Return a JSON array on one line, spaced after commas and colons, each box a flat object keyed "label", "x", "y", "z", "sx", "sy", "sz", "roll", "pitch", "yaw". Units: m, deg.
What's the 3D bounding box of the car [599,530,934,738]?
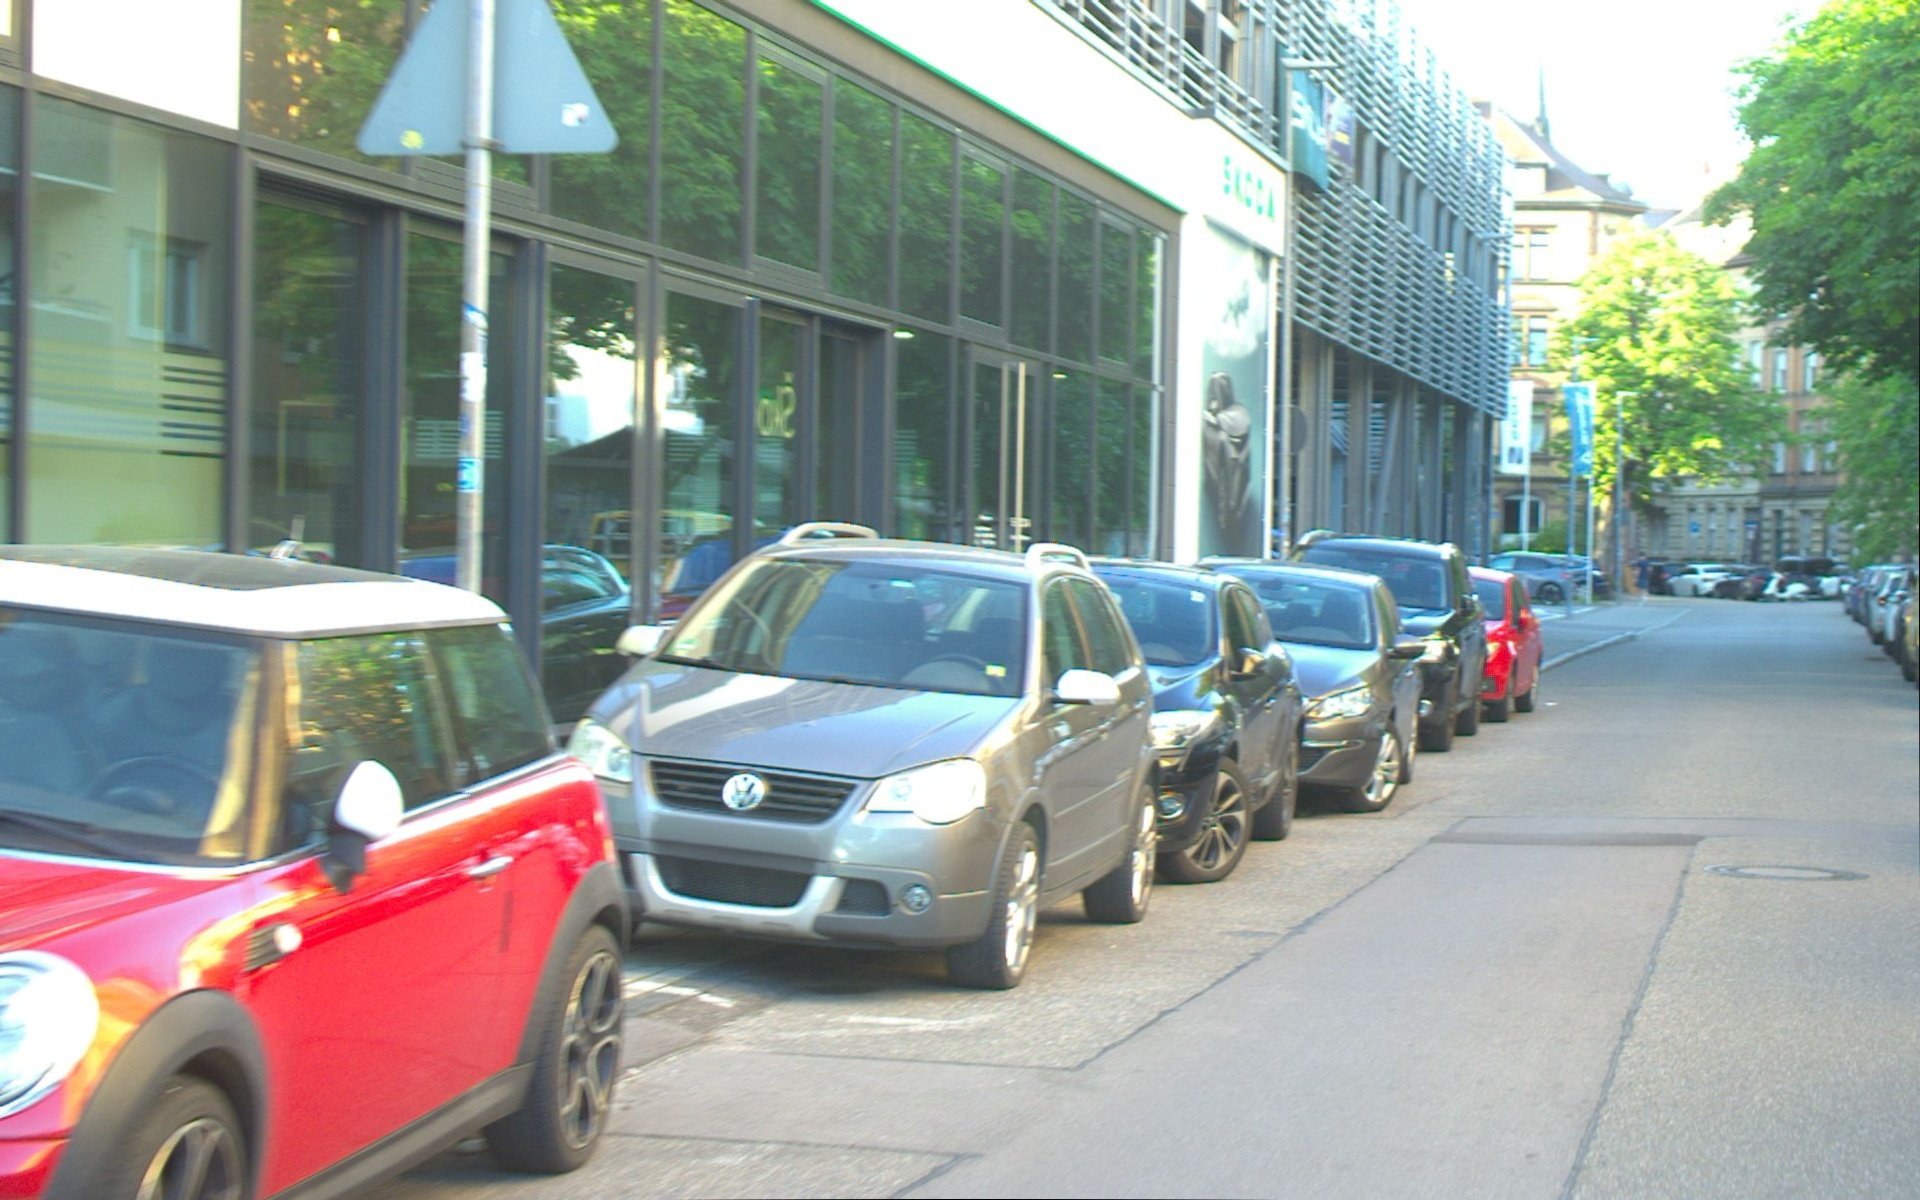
[{"label": "car", "x": -1.599, "y": 0.237, "z": 30.028, "sx": 1.698, "sy": 1.653, "sz": 4.407, "roll": 1, "pitch": 1, "yaw": 14}]

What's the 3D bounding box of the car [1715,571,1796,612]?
[{"label": "car", "x": 31.404, "y": -0.333, "z": 135.733, "sx": 1.654, "sy": 1.426, "sz": 3.991, "roll": 1, "pitch": 2, "yaw": -10}]

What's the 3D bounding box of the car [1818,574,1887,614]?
[{"label": "car", "x": 36.194, "y": -0.260, "z": 139.465, "sx": 1.674, "sy": 1.520, "sz": 2.768, "roll": 2, "pitch": 1, "yaw": -10}]

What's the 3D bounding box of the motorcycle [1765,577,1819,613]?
[{"label": "motorcycle", "x": 31.945, "y": -0.201, "z": 131.987, "sx": 1.932, "sy": 1.336, "sz": 0.577, "roll": 1, "pitch": 1, "yaw": 4}]

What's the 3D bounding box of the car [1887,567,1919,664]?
[{"label": "car", "x": 16.608, "y": 0.248, "z": 57.990, "sx": 1.723, "sy": 1.514, "sz": 4.023, "roll": 1, "pitch": 2, "yaw": 13}]

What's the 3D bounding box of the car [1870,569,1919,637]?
[{"label": "car", "x": 23.051, "y": 0.064, "z": 83.462, "sx": 1.760, "sy": 1.598, "sz": 3.871, "roll": 1, "pitch": 1, "yaw": 14}]

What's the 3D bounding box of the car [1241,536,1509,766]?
[{"label": "car", "x": 3.553, "y": 0.354, "z": 28.796, "sx": 1.698, "sy": 1.750, "sz": 4.400, "roll": 1, "pitch": 1, "yaw": 14}]

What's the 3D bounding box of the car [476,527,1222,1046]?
[{"label": "car", "x": -0.245, "y": 0.569, "z": 13.085, "sx": 1.663, "sy": 1.492, "sz": 3.882, "roll": 7, "pitch": 2, "yaw": 14}]

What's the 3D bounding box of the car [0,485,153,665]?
[{"label": "car", "x": -8.285, "y": -0.222, "z": 28.082, "sx": 1.698, "sy": 1.429, "sz": 3.918, "roll": 1, "pitch": 1, "yaw": 14}]

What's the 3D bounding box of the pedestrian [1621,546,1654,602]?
[{"label": "pedestrian", "x": 22.239, "y": -0.857, "z": 112.830, "sx": 0.735, "sy": 1.798, "sz": 1.122, "roll": 1, "pitch": 1, "yaw": -6}]

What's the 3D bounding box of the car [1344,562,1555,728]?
[{"label": "car", "x": 4.918, "y": 0.400, "z": 34.183, "sx": 1.698, "sy": 1.501, "sz": 3.788, "roll": 1, "pitch": 1, "yaw": 14}]

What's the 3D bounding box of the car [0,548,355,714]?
[{"label": "car", "x": -7.290, "y": 0.241, "z": 32.400, "sx": 1.698, "sy": 1.429, "sz": 3.918, "roll": 1, "pitch": 1, "yaw": 14}]

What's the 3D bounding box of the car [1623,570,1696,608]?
[{"label": "car", "x": 29.505, "y": -0.481, "z": 145.193, "sx": 1.654, "sy": 1.426, "sz": 3.897, "roll": 1, "pitch": 2, "yaw": -10}]

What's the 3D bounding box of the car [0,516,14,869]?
[{"label": "car", "x": -5.667, "y": 0.447, "z": 14.411, "sx": 1.594, "sy": 1.644, "sz": 3.874, "roll": 1, "pitch": 1, "yaw": 14}]

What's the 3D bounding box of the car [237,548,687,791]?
[{"label": "car", "x": -3.357, "y": 0.412, "z": 23.951, "sx": 1.698, "sy": 1.509, "sz": 3.991, "roll": 1, "pitch": 1, "yaw": 14}]

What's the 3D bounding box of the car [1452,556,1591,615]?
[{"label": "car", "x": 17.654, "y": -0.462, "z": 107.967, "sx": 4.132, "sy": 1.612, "sz": 1.912, "roll": 3, "pitch": 2, "yaw": 12}]

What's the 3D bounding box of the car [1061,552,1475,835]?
[{"label": "car", "x": 2.121, "y": 0.519, "z": 22.496, "sx": 1.938, "sy": 1.591, "sz": 4.202, "roll": 1, "pitch": 2, "yaw": 16}]

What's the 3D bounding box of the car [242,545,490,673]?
[{"label": "car", "x": -6.317, "y": 0.067, "z": 36.860, "sx": 1.421, "sy": 1.250, "sz": 3.212, "roll": 1, "pitch": 2, "yaw": 14}]

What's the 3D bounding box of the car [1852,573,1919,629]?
[{"label": "car", "x": 25.548, "y": 0.017, "z": 94.971, "sx": 1.696, "sy": 1.472, "sz": 4.114, "roll": 1, "pitch": 1, "yaw": 14}]

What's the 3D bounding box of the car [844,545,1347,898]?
[{"label": "car", "x": 0.817, "y": 0.513, "z": 17.558, "sx": 1.730, "sy": 1.398, "sz": 4.004, "roll": 7, "pitch": 2, "yaw": 13}]

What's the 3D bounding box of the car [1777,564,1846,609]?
[{"label": "car", "x": 35.488, "y": -0.578, "z": 143.293, "sx": 1.674, "sy": 1.776, "sz": 3.016, "roll": 1, "pitch": 1, "yaw": -10}]

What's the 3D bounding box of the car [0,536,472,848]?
[{"label": "car", "x": -4.294, "y": 0.411, "z": 19.080, "sx": 1.698, "sy": 1.509, "sz": 4.189, "roll": 1, "pitch": 1, "yaw": 14}]

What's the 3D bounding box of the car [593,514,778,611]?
[{"label": "car", "x": -3.678, "y": -0.533, "z": 46.561, "sx": 1.421, "sy": 1.250, "sz": 3.524, "roll": 1, "pitch": 2, "yaw": 14}]

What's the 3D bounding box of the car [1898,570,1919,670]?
[{"label": "car", "x": 15.390, "y": 0.293, "z": 53.183, "sx": 1.564, "sy": 1.445, "sz": 3.451, "roll": 1, "pitch": 2, "yaw": 13}]

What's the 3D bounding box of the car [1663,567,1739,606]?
[{"label": "car", "x": 30.255, "y": -0.557, "z": 140.404, "sx": 1.654, "sy": 1.426, "sz": 4.168, "roll": 1, "pitch": 2, "yaw": -8}]

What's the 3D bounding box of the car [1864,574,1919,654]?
[{"label": "car", "x": 18.824, "y": 0.259, "z": 67.918, "sx": 1.760, "sy": 1.437, "sz": 4.003, "roll": 1, "pitch": 2, "yaw": 14}]

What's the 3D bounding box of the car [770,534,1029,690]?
[{"label": "car", "x": -0.552, "y": 0.080, "z": 34.730, "sx": 1.698, "sy": 1.468, "sz": 3.779, "roll": 1, "pitch": 1, "yaw": 14}]

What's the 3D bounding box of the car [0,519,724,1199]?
[{"label": "car", "x": -1.857, "y": 0.612, "z": 7.178, "sx": 1.662, "sy": 1.406, "sz": 3.925, "roll": 6, "pitch": 2, "yaw": 10}]

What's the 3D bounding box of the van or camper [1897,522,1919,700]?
[{"label": "van or camper", "x": 12.876, "y": 0.092, "z": 42.800, "sx": 2.065, "sy": 2.088, "sz": 5.088, "roll": 1, "pitch": 2, "yaw": 13}]

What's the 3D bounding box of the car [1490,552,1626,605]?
[{"label": "car", "x": 21.928, "y": -0.801, "z": 126.252, "sx": 4.831, "sy": 1.726, "sz": 1.920, "roll": 2, "pitch": 2, "yaw": 8}]
